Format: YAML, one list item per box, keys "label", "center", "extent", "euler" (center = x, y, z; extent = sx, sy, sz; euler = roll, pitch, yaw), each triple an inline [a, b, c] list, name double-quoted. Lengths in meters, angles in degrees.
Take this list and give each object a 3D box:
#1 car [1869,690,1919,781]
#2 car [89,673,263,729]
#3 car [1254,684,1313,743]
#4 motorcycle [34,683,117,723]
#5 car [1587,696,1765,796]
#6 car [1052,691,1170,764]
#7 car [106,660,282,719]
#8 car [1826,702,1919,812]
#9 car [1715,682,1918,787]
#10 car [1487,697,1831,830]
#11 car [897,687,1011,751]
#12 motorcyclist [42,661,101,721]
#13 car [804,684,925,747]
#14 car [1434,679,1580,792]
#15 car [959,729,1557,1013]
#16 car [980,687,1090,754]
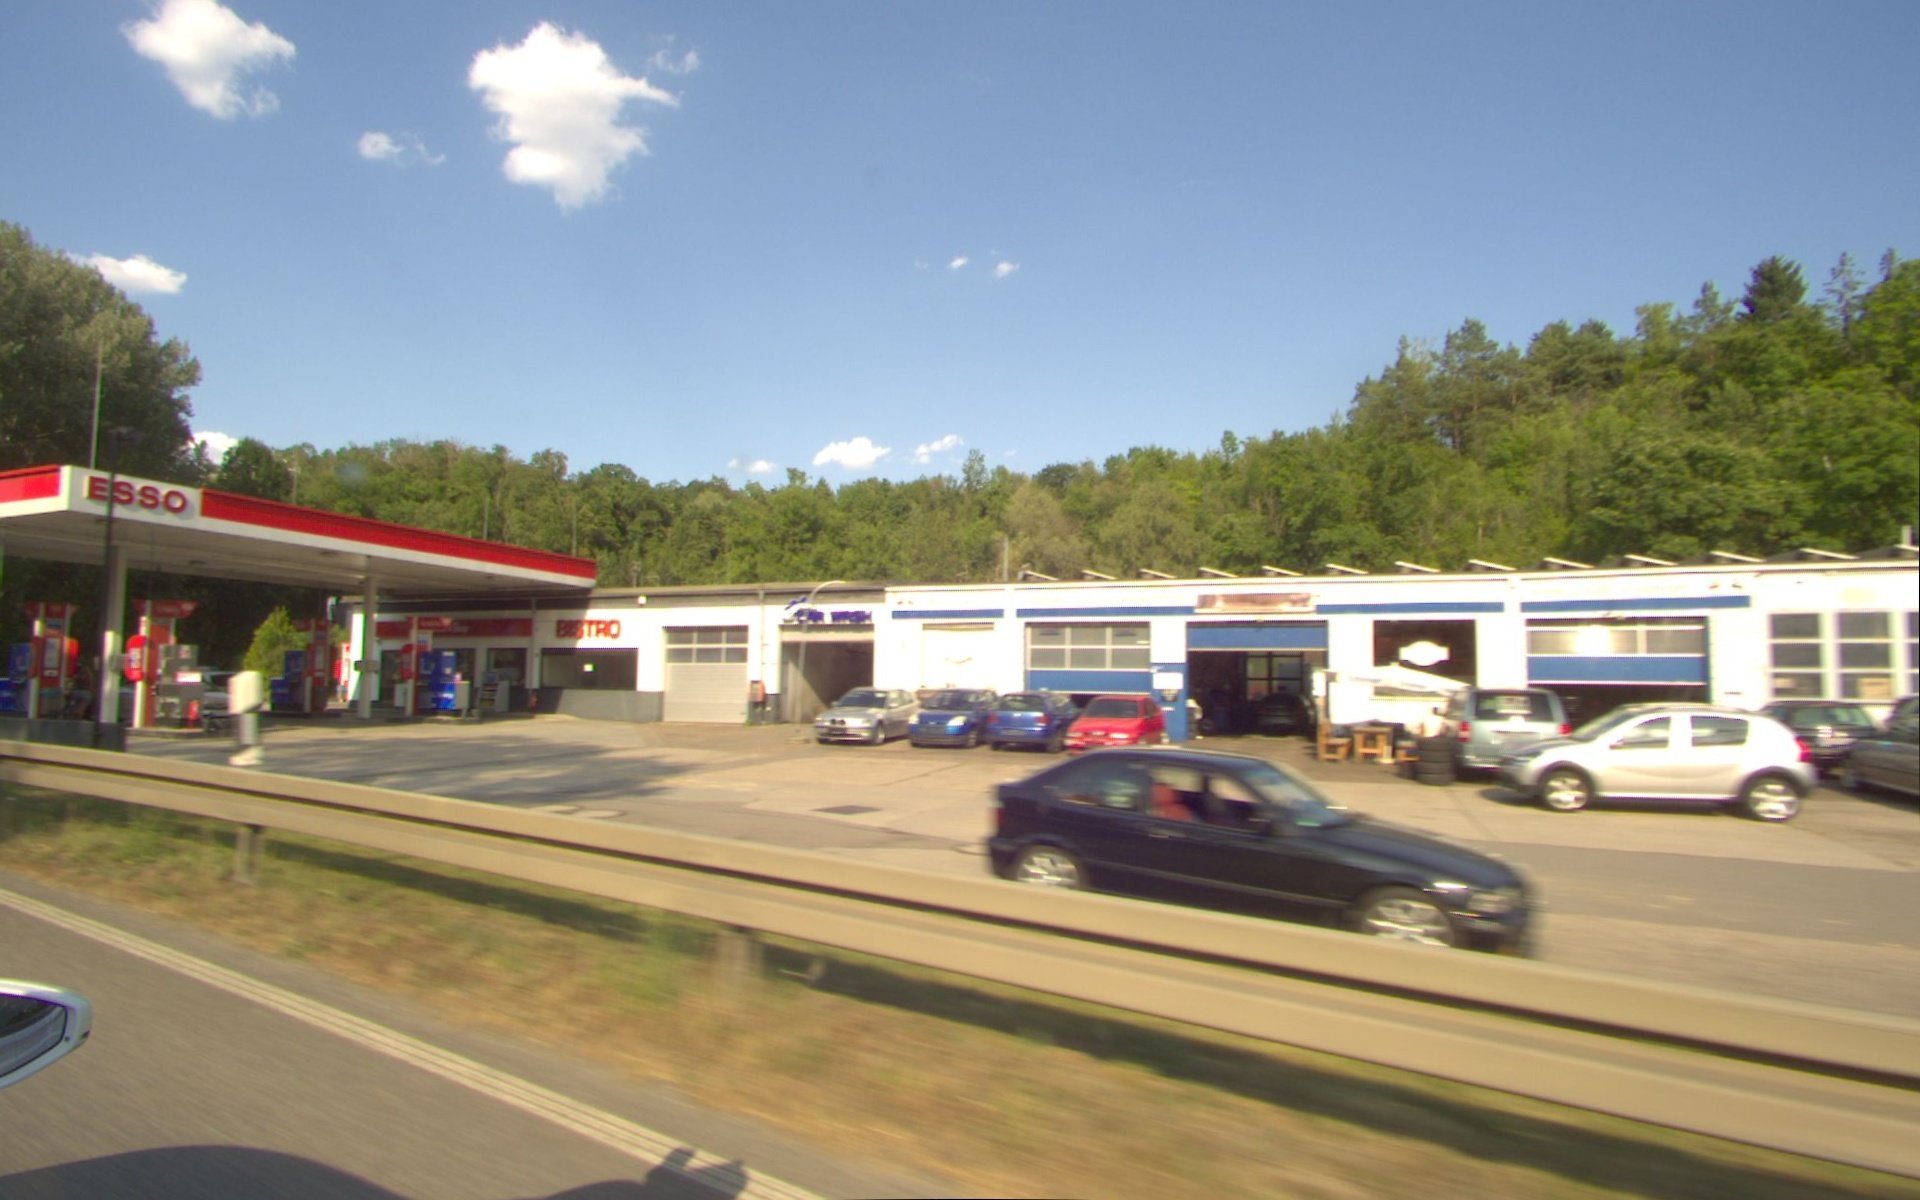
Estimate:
- label: "car"
  center: [18.714, 2.535, 18.208]
  extent: [1.863, 1.630, 4.246]
  euler: [0, -3, 22]
- label: "car"
  center: [-21.365, 2.713, 27.284]
  extent: [4.316, 1.335, 1.845]
  euler: [0, -4, 23]
- label: "car"
  center: [10.582, 3.648, 32.634]
  extent: [1.713, 1.580, 4.026]
  euler: [0, -2, 20]
- label: "motorcycle"
  center: [-24.772, 2.858, 28.042]
  extent: [2.301, 1.024, 0.763]
  euler: [0, -4, 22]
- label: "car"
  center: [13.926, 2.764, 19.770]
  extent: [1.838, 1.480, 4.151]
  euler: [0, -2, 21]
- label: "car"
  center: [3.686, 2.964, 23.860]
  extent: [1.863, 1.365, 4.072]
  euler: [0, -3, 22]
- label: "car"
  center: [-24.347, 2.806, 31.834]
  extent: [5.091, 1.647, 2.096]
  euler: [0, -4, 22]
- label: "car"
  center: [15.357, 2.440, 15.104]
  extent: [1.923, 1.452, 4.727]
  euler: [0, -2, 20]
- label: "car"
  center: [16.662, 2.534, 19.739]
  extent: [1.863, 1.631, 3.991]
  euler: [0, -2, 22]
- label: "car"
  center: [10.354, 2.379, 15.199]
  extent: [3.918, 1.616, 1.793]
  euler: [0, -2, 19]
- label: "car"
  center: [-0.066, 2.985, 25.581]
  extent: [1.662, 1.423, 3.556]
  euler: [0, -4, 22]
- label: "motorcyclist"
  center: [-24.980, 2.551, 28.157]
  extent: [0.912, 1.624, 0.860]
  euler: [0, -4, 22]
- label: "car"
  center: [-2.428, 2.993, 26.572]
  extent: [1.745, 1.371, 3.966]
  euler: [0, -3, 18]
- label: "car"
  center: [10.512, 2.511, 19.548]
  extent: [1.859, 1.750, 4.255]
  euler: [0, -2, 20]
- label: "car"
  center: [2.256, 1.872, 7.930]
  extent: [4.211, 1.369, 1.822]
  euler: [-1, -4, 33]
- label: "car"
  center: [1.931, 2.926, 24.827]
  extent: [1.704, 1.463, 3.550]
  euler: [0, -4, 22]
